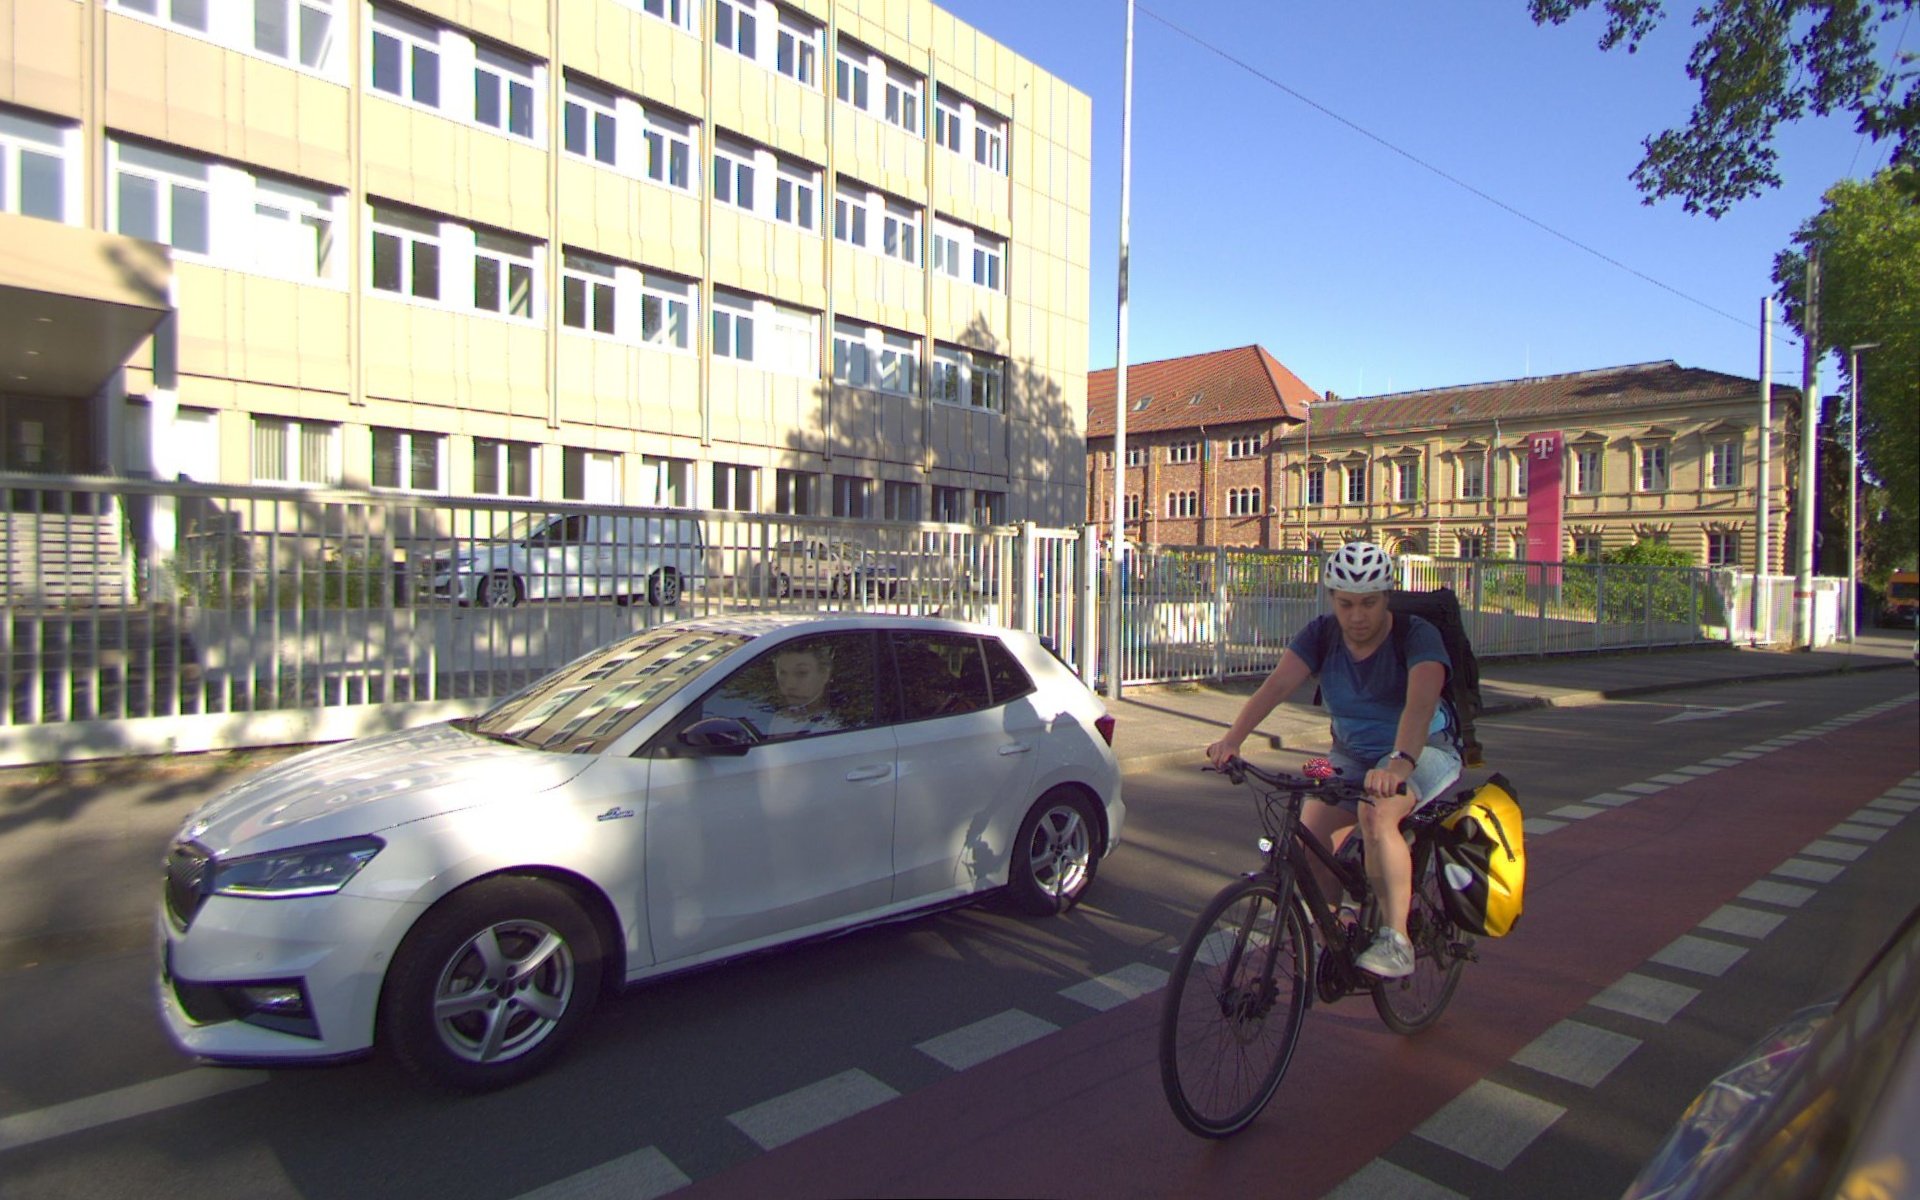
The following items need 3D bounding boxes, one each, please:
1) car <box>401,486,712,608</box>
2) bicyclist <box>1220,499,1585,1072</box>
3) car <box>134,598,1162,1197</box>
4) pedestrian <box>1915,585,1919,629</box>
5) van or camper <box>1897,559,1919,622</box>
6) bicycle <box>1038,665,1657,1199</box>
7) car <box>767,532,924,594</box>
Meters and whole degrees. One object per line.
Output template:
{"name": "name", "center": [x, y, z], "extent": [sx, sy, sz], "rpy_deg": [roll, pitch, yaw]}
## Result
{"name": "car", "center": [-6.971, -0.865, 17.842], "extent": [1.994, 1.865, 4.709], "rpy_deg": [2, 2, 44]}
{"name": "bicyclist", "center": [1.355, 0.457, 3.096], "extent": [0.844, 1.440, 0.727], "rpy_deg": [-1, 0, -41]}
{"name": "car", "center": [-1.011, 0.722, 4.451], "extent": [4.005, 1.406, 1.703], "rpy_deg": [-1, 1, -42]}
{"name": "pedestrian", "center": [32.726, 0.238, 33.851], "extent": [0.793, 1.491, 0.901], "rpy_deg": [0, 1, -25]}
{"name": "van or camper", "center": [41.837, -0.429, 43.607], "extent": [1.994, 2.626, 5.536], "rpy_deg": [0, 1, 44]}
{"name": "bicycle", "center": [1.305, 0.863, 3.053], "extent": [2.267, 1.158, 0.764], "rpy_deg": [-1, 2, -41]}
{"name": "car", "center": [-3.287, -1.029, 28.504], "extent": [4.564, 1.600, 1.968], "rpy_deg": [2, 2, 44]}
